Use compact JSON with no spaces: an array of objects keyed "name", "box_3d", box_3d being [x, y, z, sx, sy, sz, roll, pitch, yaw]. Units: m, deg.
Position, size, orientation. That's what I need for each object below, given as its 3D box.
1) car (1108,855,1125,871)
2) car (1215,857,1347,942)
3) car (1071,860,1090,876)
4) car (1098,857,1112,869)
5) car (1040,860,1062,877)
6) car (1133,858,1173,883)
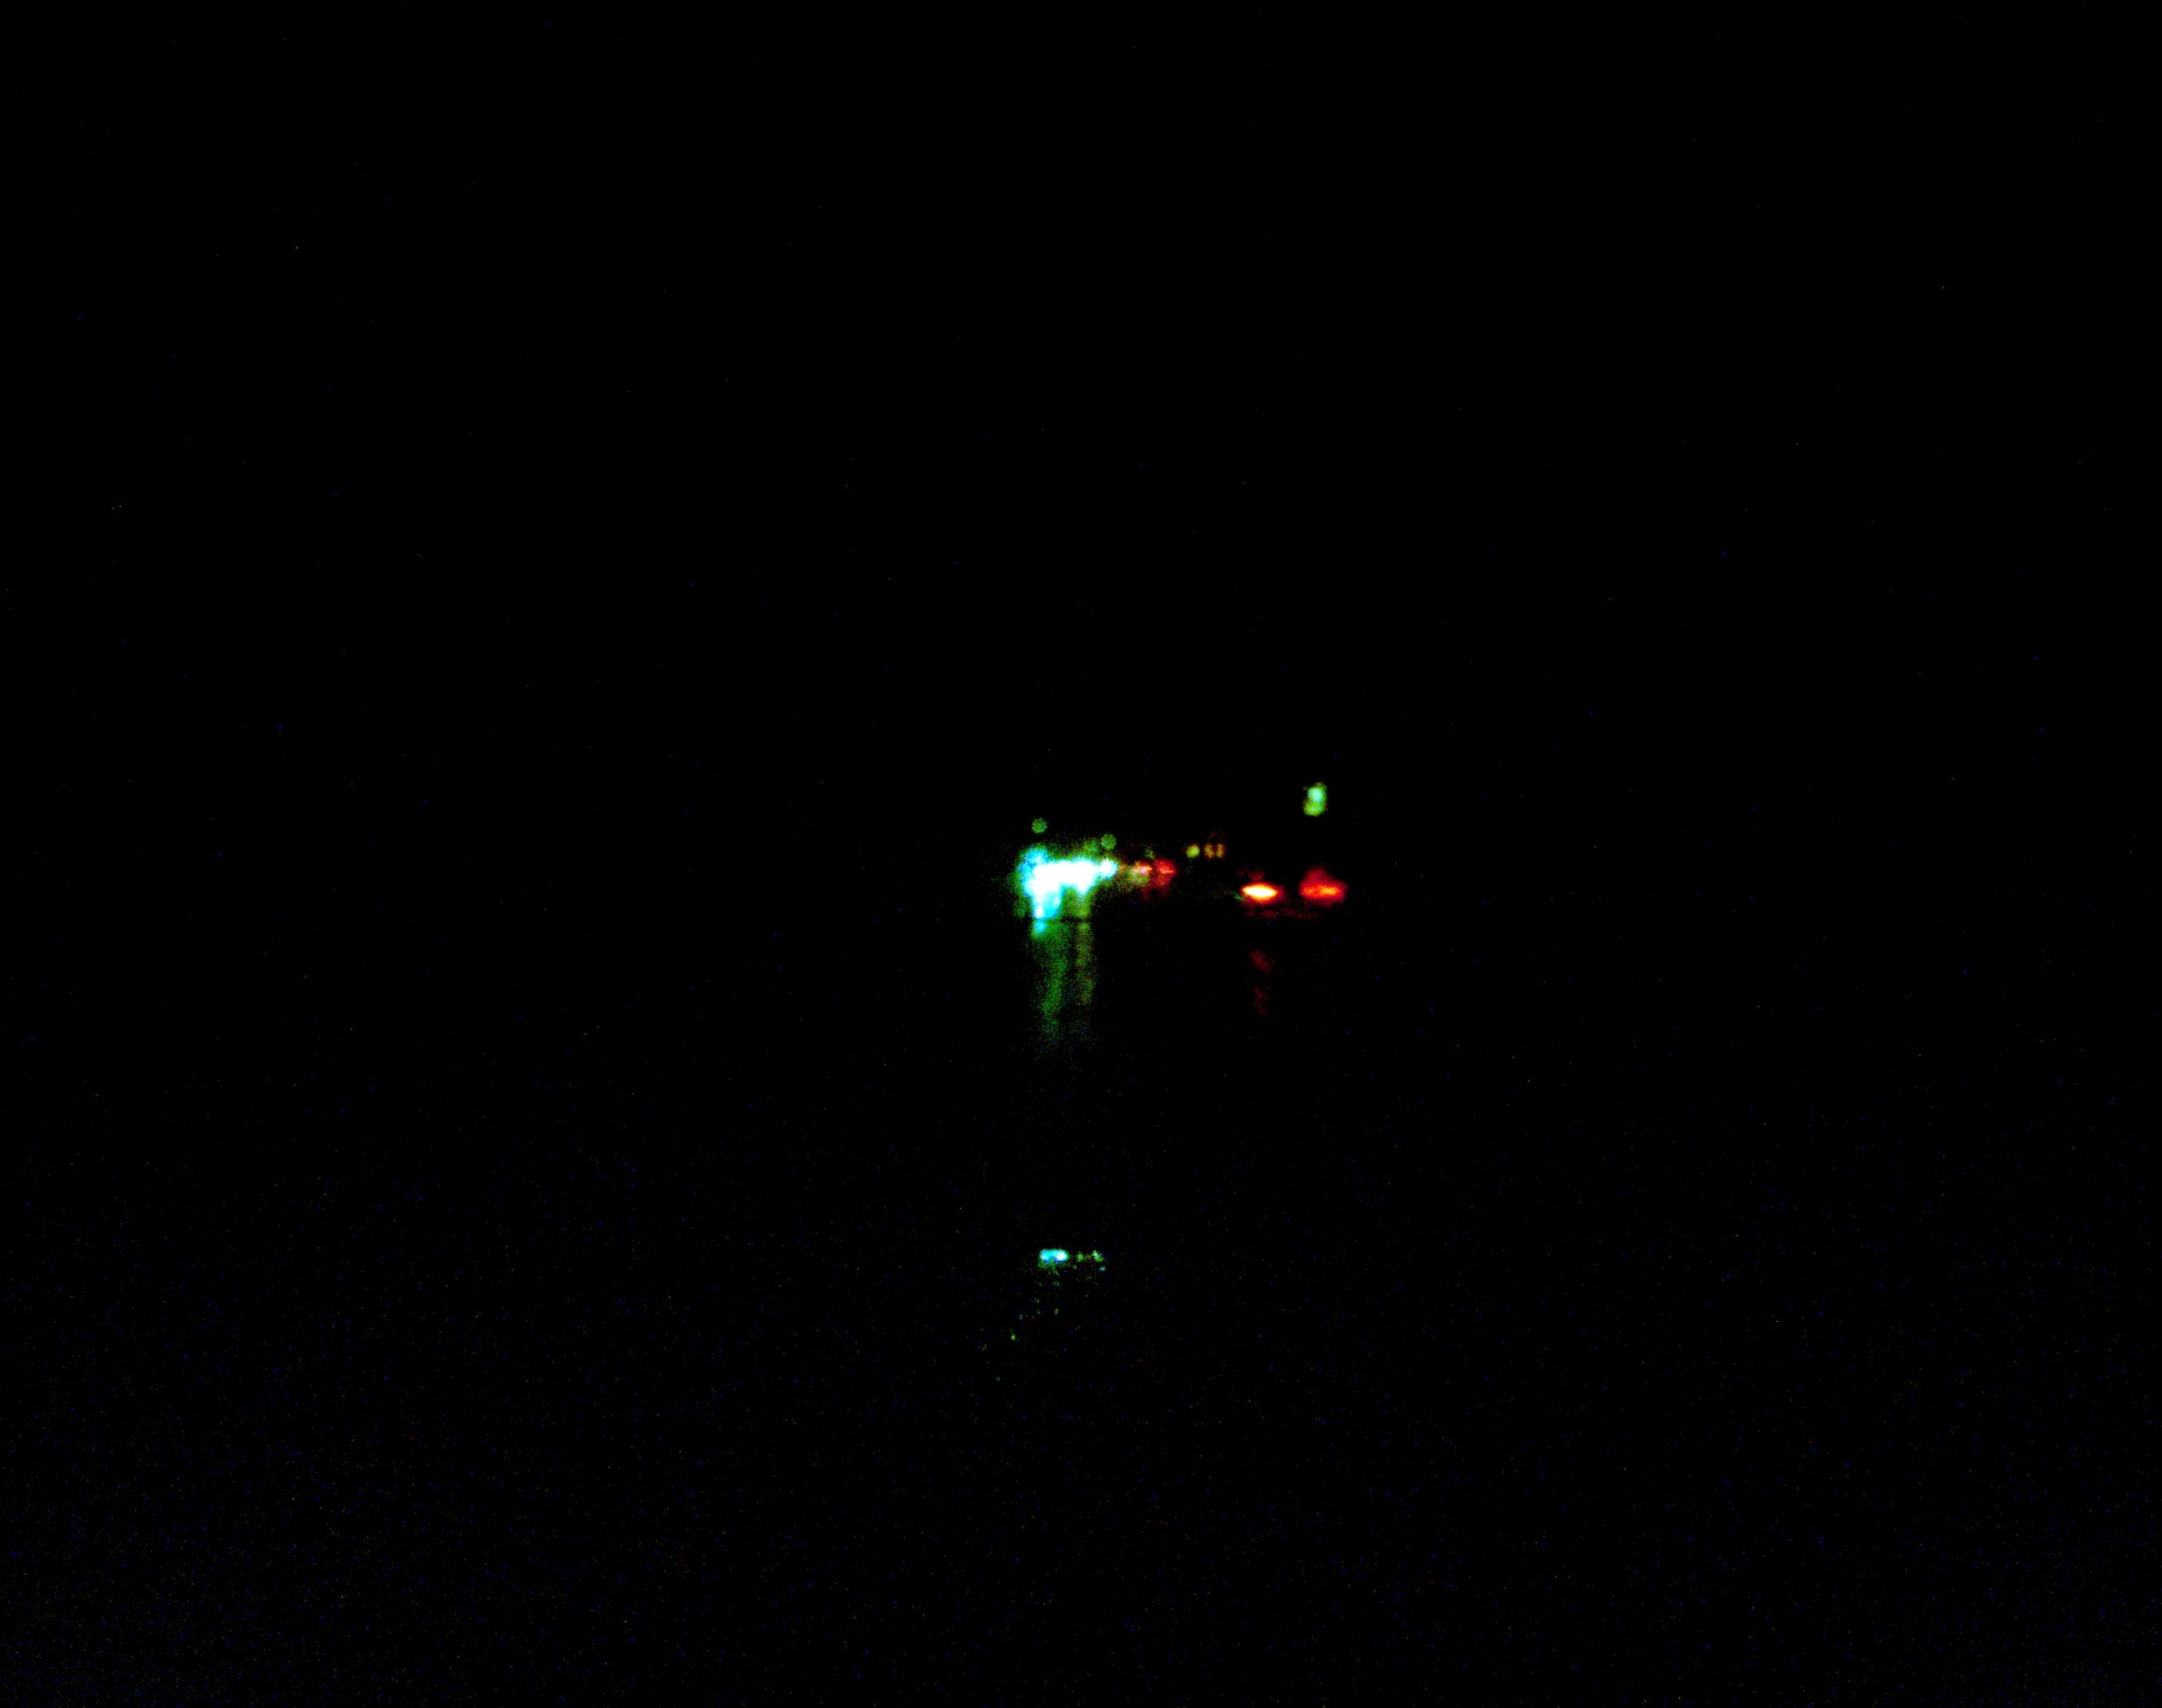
[{"name":"car","box_3d":[4.042,0.967,85.690,1.794,1.681,4.001,-2,0,3]},{"name":"car","box_3d":[4.075,0.859,16.117,1.998,1.489,3.775,-2,0,4]},{"name":"car","box_3d":[-0.074,1.537,85.344,1.999,1.575,4.000,-3,0,0]},{"name":"car","box_3d":[3.517,1.293,111.583,1.904,1.635,3.791,-2,0,1]},{"name":"car","box_3d":[-2.952,1.417,75.762,1.999,1.575,4.000,-4,0,-1]},{"name":"car","box_3d":[4.540,1.043,48.472,1.998,1.409,4.665,-2,0,0]}]
